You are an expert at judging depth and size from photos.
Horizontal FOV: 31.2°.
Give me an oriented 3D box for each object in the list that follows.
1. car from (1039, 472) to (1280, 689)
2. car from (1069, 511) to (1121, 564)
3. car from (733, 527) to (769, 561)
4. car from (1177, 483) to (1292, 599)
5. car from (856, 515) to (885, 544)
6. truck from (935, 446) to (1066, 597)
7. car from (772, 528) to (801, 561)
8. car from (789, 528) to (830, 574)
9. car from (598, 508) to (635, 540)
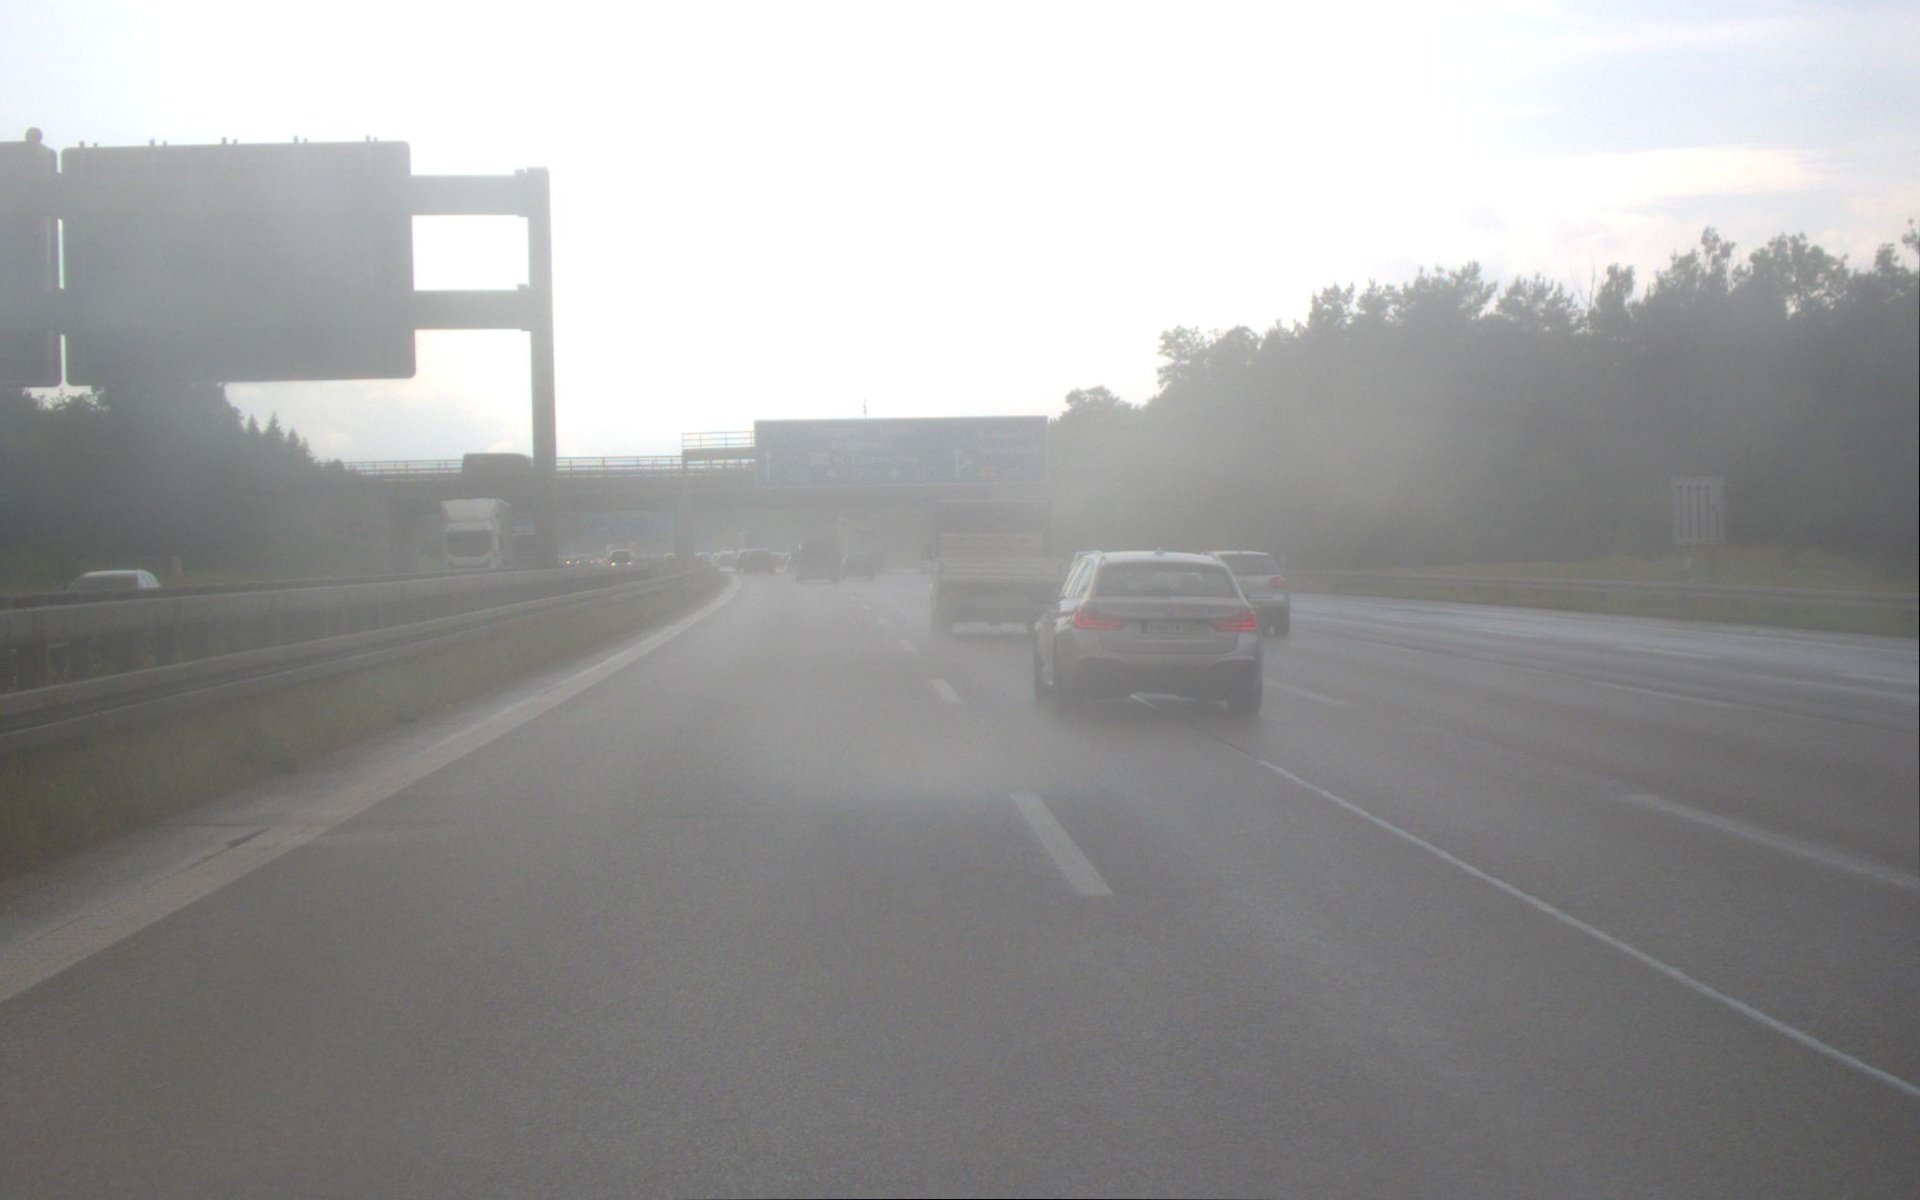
[{"bbox_3d":[1.864,-0.217,32.213,2.078,1.878,5.011,0,1,3],"label":"car"},{"bbox_3d":[5.360,-2.480,135.910,1.994,2.007,4.000,1,1,3],"label":"car"},{"bbox_3d":[-12.709,-3.413,209.249,1.993,2.007,4.000,0,1,-1],"label":"car"},{"bbox_3d":[4.904,-1.074,61.818,1.908,2.007,4.000,1,1,3],"label":"car"},{"bbox_3d":[-6.431,-5.051,246.648,1.993,2.007,4.000,1,1,-1],"label":"car"},{"bbox_3d":[0.742,-1.363,59.330,2.137,2.480,5.313,0,1,2],"label":"truck"},{"bbox_3d":[-10.693,-3.428,212.334,1.617,2.007,4.000,1,1,-1],"label":"car"},{"bbox_3d":[-6.813,-2.231,155.720,1.674,2.007,4.000,1,1,-1],"label":"car"},{"bbox_3d":[-21.671,-4.778,217.159,1.993,2.007,4.000,0,1,-1],"label":"car"}]
